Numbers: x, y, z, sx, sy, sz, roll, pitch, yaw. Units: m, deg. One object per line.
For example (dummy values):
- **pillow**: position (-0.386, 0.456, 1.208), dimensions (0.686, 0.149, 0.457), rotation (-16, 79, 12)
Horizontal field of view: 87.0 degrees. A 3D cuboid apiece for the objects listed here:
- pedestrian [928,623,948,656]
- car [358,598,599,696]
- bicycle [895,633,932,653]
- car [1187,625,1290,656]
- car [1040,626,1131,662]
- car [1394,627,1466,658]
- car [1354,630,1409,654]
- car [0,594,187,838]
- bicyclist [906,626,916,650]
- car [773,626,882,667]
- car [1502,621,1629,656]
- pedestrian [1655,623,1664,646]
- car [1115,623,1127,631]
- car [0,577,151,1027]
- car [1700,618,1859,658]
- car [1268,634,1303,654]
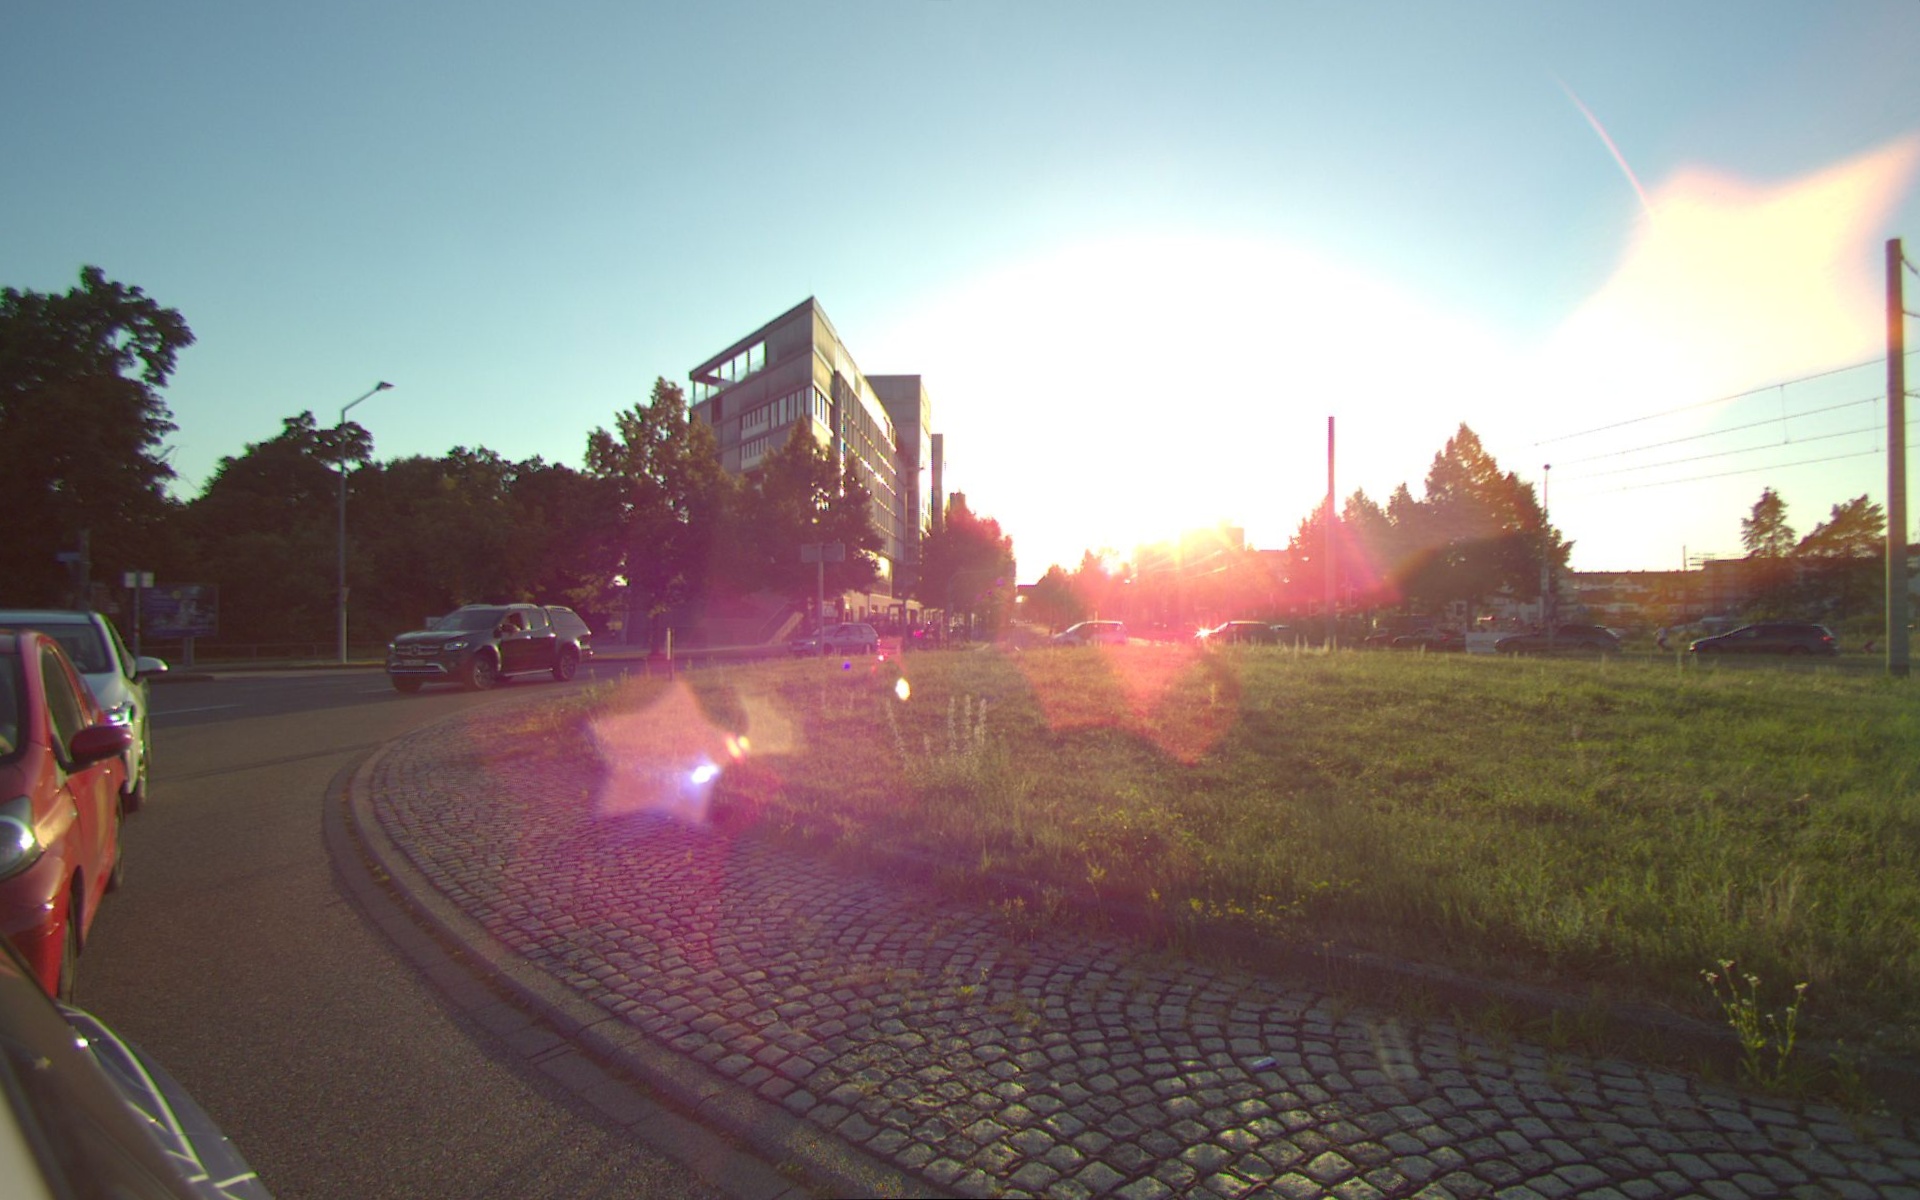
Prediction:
- **pedestrian**: position (-1.398, 2.507, 64.319), dimensions (0.995, 2.029, 0.768), rotation (-1, 0, 29)
- **car**: position (-10.294, 1.015, 22.208), dimensions (1.979, 1.827, 5.285), rotation (-2, -3, 12)
- **bicycle**: position (-2.888, 2.682, 62.960), dimensions (2.315, 1.254, 0.742), rotation (0, -1, 0)
- **car**: position (13.165, 1.897, 47.993), dimensions (4.324, 1.386, 1.999), rotation (0, -1, 2)
- **car**: position (5.838, 2.051, 47.405), dimensions (3.831, 1.592, 1.958), rotation (0, -1, -7)
- **car**: position (26.207, 2.350, 56.588), dimensions (1.970, 1.663, 4.003), rotation (0, -1, -3)
- **car**: position (27.694, 2.745, 66.609), dimensions (1.615, 1.511, 3.499), rotation (0, -1, -13)
- **car**: position (-7.749, 0.808, 8.339), dimensions (1.967, 1.618, 4.209), rotation (1, -1, -35)
- **bicyclist**: position (-3.069, 2.358, 62.982), dimensions (0.602, 1.451, 0.692), rotation (0, -1, -2)
- **car**: position (-5.325, 1.840, 41.342), dimensions (1.830, 1.571, 4.511), rotation (-1, -2, 36)
- **car**: position (25.729, 1.603, 43.095), dimensions (4.351, 1.386, 1.972), rotation (-1, -2, 42)
- **pedestrian**: position (40.397, 2.006, 58.446), dimensions (0.397, 1.318, 0.423), rotation (-1, -2, 41)
- **car**: position (35.425, 5.946, 222.443), dimensions (1.972, 1.737, 4.000), rotation (-1, 0, 0)
- **car**: position (-4.781, 0.678, 4.456), dimensions (1.662, 1.431, 4.010), rotation (1, -2, -35)
- **car**: position (30.631, 1.393, 37.909), dimensions (1.969, 1.386, 4.389), rotation (1, -2, -42)
- **car**: position (29.628, 3.966, 92.246), dimensions (1.975, 1.719, 4.708), rotation (0, -1, 5)
